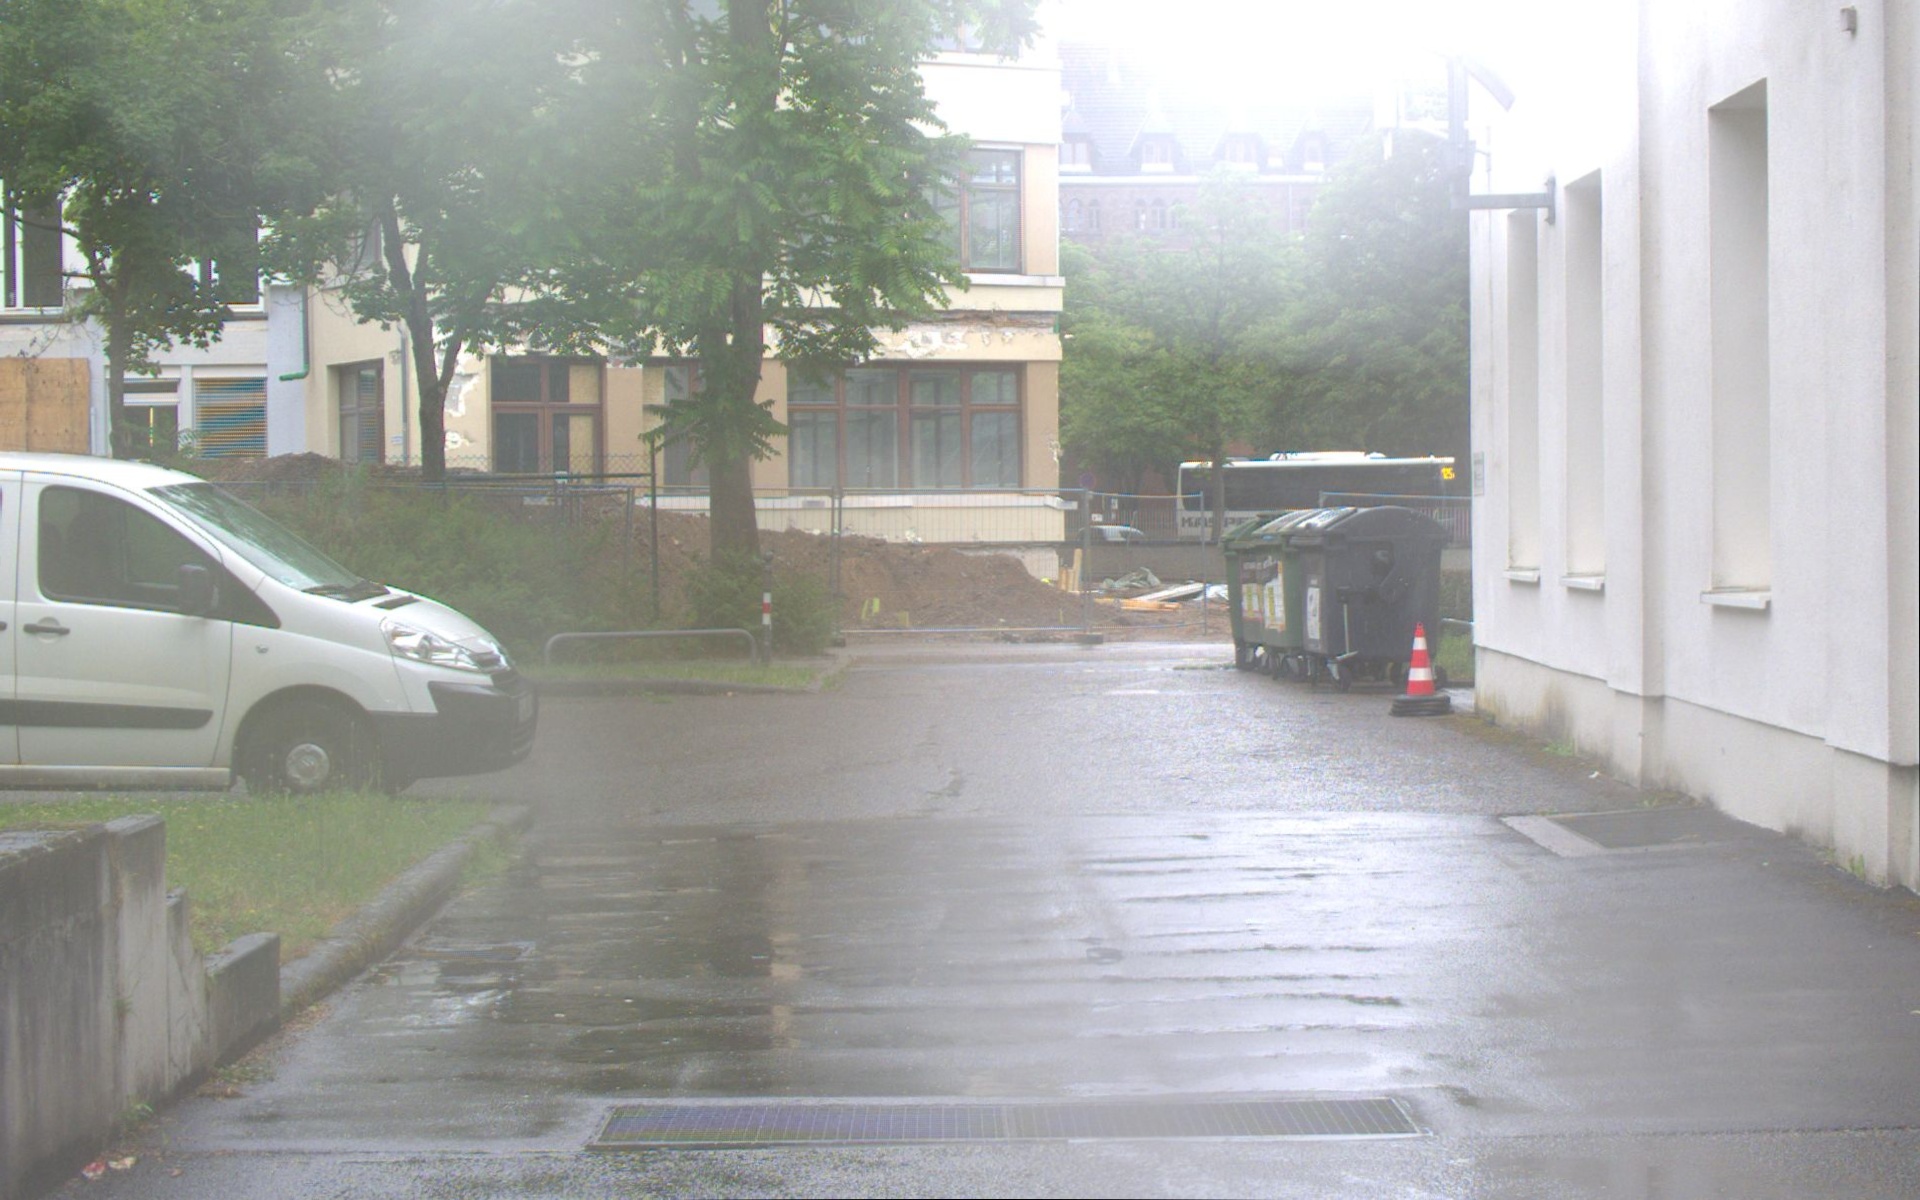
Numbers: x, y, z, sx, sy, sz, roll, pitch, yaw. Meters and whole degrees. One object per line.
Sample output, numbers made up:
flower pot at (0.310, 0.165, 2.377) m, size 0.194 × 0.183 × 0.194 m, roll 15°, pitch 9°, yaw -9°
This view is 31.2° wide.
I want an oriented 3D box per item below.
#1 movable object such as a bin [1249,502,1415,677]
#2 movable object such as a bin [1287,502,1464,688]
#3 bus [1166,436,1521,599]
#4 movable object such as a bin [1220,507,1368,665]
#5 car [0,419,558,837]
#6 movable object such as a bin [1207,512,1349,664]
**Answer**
movable object such as a bin at (3.106, -0.082, 28.877) m, size 1.214 × 1.432 × 1.294 m, roll 0°, pitch -1°, yaw -1°
movable object such as a bin at (3.269, -0.033, 27.183) m, size 1.214 × 1.432 × 1.236 m, roll 0°, pitch -1°, yaw -2°
bus at (9.851, -2.021, 90.436) m, size 2.807 × 3.860 × 12.057 m, roll 0°, pitch -1°, yaw -29°
movable object such as a bin at (3.087, -0.124, 31.886) m, size 1.214 × 1.432 × 1.259 m, roll 0°, pitch -1°, yaw -1°
car at (-4.646, 0.130, 17.938) m, size 4.780 × 2.006 × 2.000 m, roll -1°, pitch 2°, yaw 1°
movable object such as a bin at (3.064, -0.108, 33.265) m, size 1.214 × 1.432 × 1.259 m, roll 0°, pitch -1°, yaw -1°
